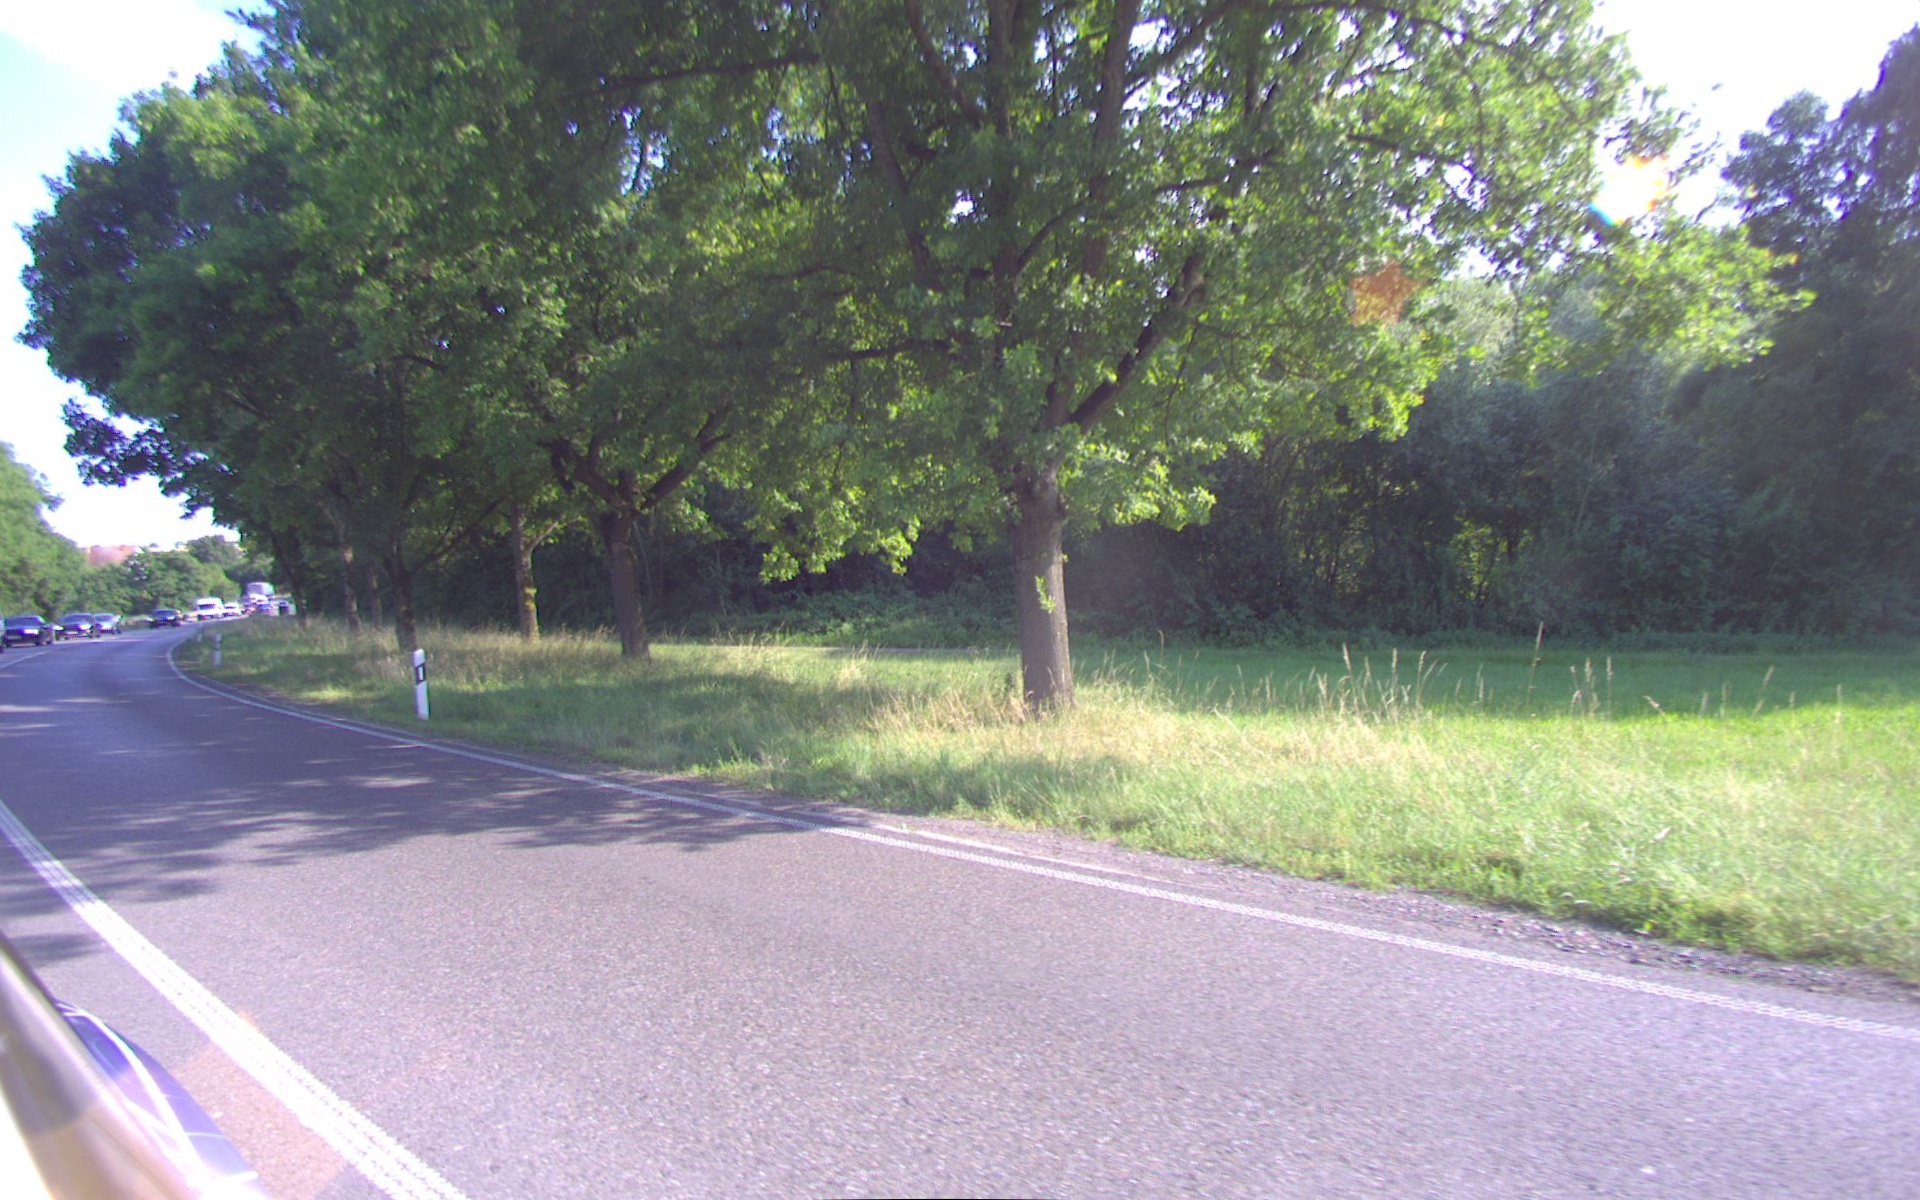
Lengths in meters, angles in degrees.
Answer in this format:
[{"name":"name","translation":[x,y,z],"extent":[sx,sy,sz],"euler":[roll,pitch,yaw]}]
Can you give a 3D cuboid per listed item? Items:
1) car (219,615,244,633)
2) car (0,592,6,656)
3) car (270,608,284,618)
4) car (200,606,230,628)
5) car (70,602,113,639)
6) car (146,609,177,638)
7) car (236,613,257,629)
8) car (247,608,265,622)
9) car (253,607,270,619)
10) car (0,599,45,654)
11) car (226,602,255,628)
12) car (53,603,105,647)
[{"name":"car","translation":[-99.816,3.270,138.750],"extent":[2.054,2.435,5.159],"euler":[-1,0,-27]},{"name":"car","translation":[-37.105,0.934,37.366],"extent":[2.055,2.435,5.154],"euler":[-1,0,-36]},{"name":"car","translation":[-124.158,2.333,184.012],"extent":[1.864,1.644,4.264],"euler":[-1,0,-30]},{"name":"car","translation":[-88.091,2.017,119.731],"extent":[2.054,2.435,5.159],"euler":[-1,0,-27]},{"name":"car","translation":[-60.112,1.363,70.109],"extent":[2.056,2.435,5.152],"euler":[-1,0,-39]},{"name":"car","translation":[-71.132,2.033,90.160],"extent":[2.056,2.435,5.152],"euler":[-1,0,-39]},{"name":"car","translation":[-115.700,3.383,164.258],"extent":[2.054,2.435,5.159],"euler":[-1,0,-27]},{"name":"car","translation":[-129.650,2.688,186.320],"extent":[2.054,2.435,5.159],"euler":[-1,0,-27]},{"name":"car","translation":[-101.029,1.917,146.336],"extent":[1.871,1.644,4.262],"euler":[-1,0,-33]},{"name":"car","translation":[-44.667,1.217,47.606],"extent":[2.056,2.435,5.152],"euler":[-1,0,-39]},{"name":"car","translation":[-69.928,1.393,98.422],"extent":[2.055,2.435,5.156],"euler":[-1,0,-34]},{"name":"car","translation":[-51.658,1.406,59.421],"extent":[2.056,2.435,5.152],"euler":[-1,0,-39]}]
